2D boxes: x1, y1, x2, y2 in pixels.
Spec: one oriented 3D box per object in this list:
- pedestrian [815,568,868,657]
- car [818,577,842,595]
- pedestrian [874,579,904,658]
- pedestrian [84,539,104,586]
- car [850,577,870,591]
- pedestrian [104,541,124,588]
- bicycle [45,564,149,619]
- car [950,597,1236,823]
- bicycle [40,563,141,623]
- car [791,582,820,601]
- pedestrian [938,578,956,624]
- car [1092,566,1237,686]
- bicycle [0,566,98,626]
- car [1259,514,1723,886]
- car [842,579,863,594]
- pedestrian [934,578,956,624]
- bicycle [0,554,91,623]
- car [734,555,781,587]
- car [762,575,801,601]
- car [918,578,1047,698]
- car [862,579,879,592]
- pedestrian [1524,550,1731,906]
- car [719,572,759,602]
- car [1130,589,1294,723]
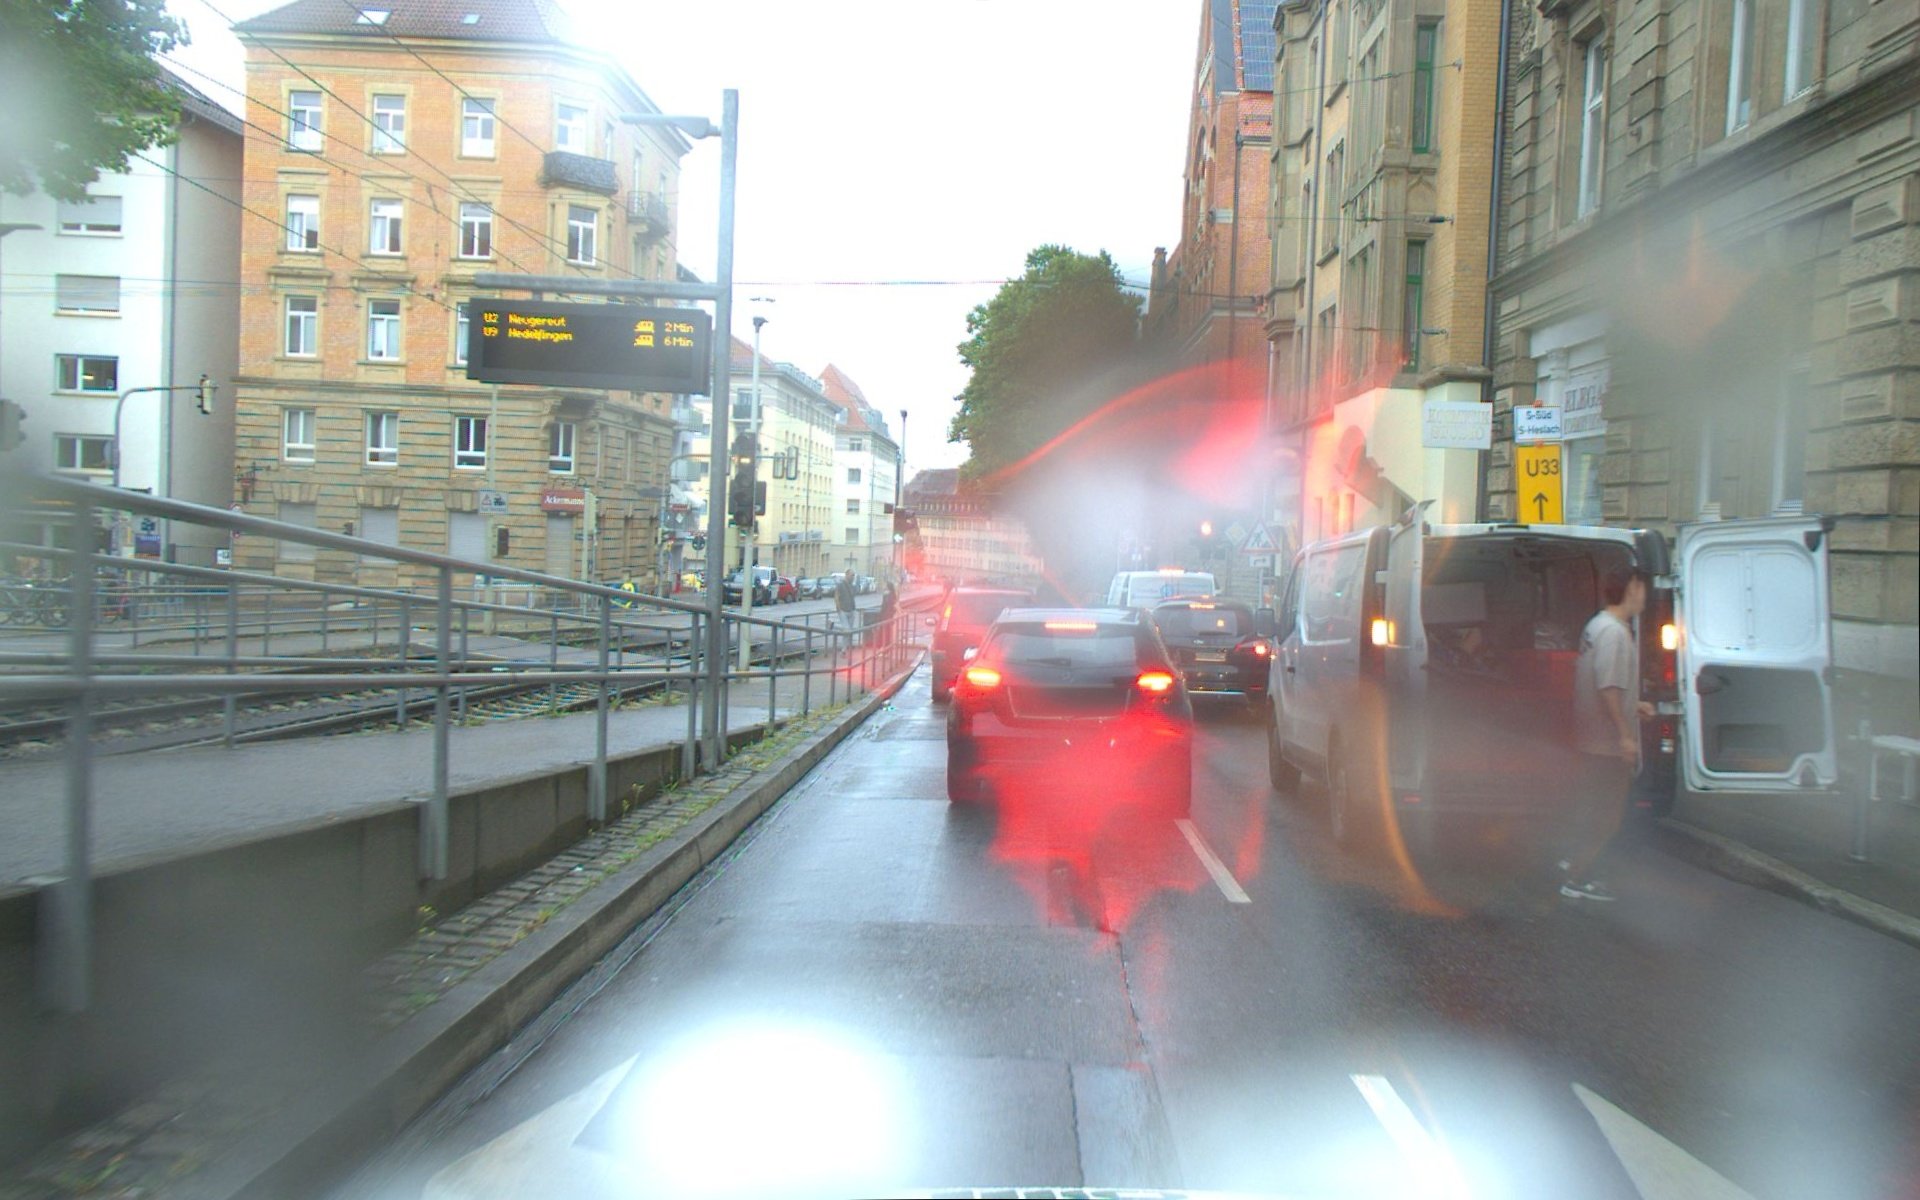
[{"bbox_3d":[-2.397,0.243,33.441,0.734,1.754,0.730,2,0,-41],"label":"pedestrian"},{"bbox_3d":[-9.549,-1.032,121.633,1.366,1.191,3.163,3,0,2],"label":"car"},{"bbox_3d":[-1.436,0.362,33.324,0.521,1.557,0.436,2,0,-6],"label":"pedestrian"},{"bbox_3d":[-31.015,-1.340,59.214,0.512,1.650,0.480,2,0,-37],"label":"pedestrian"},{"bbox_3d":[-8.968,-1.456,148.440,1.366,1.191,3.163,3,0,2],"label":"car"},{"bbox_3d":[-30.341,-1.270,59.346,0.512,1.650,0.480,2,0,-37],"label":"pedestrian"},{"bbox_3d":[-18.240,-0.177,34.980,1.836,1.083,0.517,2,0,-9],"label":"bicycle"},{"bbox_3d":[0.993,0.730,13.071,1.855,1.414,4.002,2,0,3],"label":"car"},{"bbox_3d":[-18.018,-0.151,34.293,1.734,1.162,0.517,2,0,-9],"label":"bicycle"},{"bbox_3d":[-10.079,-0.569,108.192,1.407,1.126,3.163,3,0,2],"label":"car"},{"bbox_3d":[-0.495,0.035,62.621,0.507,1.694,0.477,4,0,5],"label":"pedestrian"},{"bbox_3d":[3.477,0.396,28.890,1.894,1.863,4.281,3,1,-1],"label":"car"},{"bbox_3d":[-17.869,-0.075,32.183,1.836,1.080,0.517,2,0,-10],"label":"bicycle"},{"bbox_3d":[3.354,0.541,11.494,1.881,1.969,4.687,2,0,3],"label":"car"},{"bbox_3d":[-9.025,-1.122,139.335,1.366,1.191,3.163,3,0,2],"label":"car"},{"bbox_3d":[-0.540,0.041,61.391,0.664,1.690,0.677,2,0,8],"label":"pedestrian"},{"bbox_3d":[-17.509,-0.224,31.207,1.836,1.216,0.517,2,0,-9],"label":"bicycle"},{"bbox_3d":[-10.828,-1.534,88.812,1.749,1.556,4.464,3,0,2],"label":"car"},{"bbox_3d":[-10.294,-0.682,95.724,1.645,1.379,3.704,3,0,2],"label":"car"},{"bbox_3d":[0.303,0.481,23.382,1.645,1.515,3.613,2,1,0],"label":"car"},{"bbox_3d":[-8.692,-1.435,161.006,1.366,1.191,3.163,3,0,2],"label":"car"},{"bbox_3d":[3.507,0.644,8.743,0.816,1.784,0.687,1,0,5],"label":"pedestrian"},{"bbox_3d":[-11.006,-0.661,82.443,1.422,1.341,3.296,4,1,1],"label":"car"},{"bbox_3d":[3.185,0.652,21.633,1.677,1.494,4.283,3,0,3],"label":"car"}]
